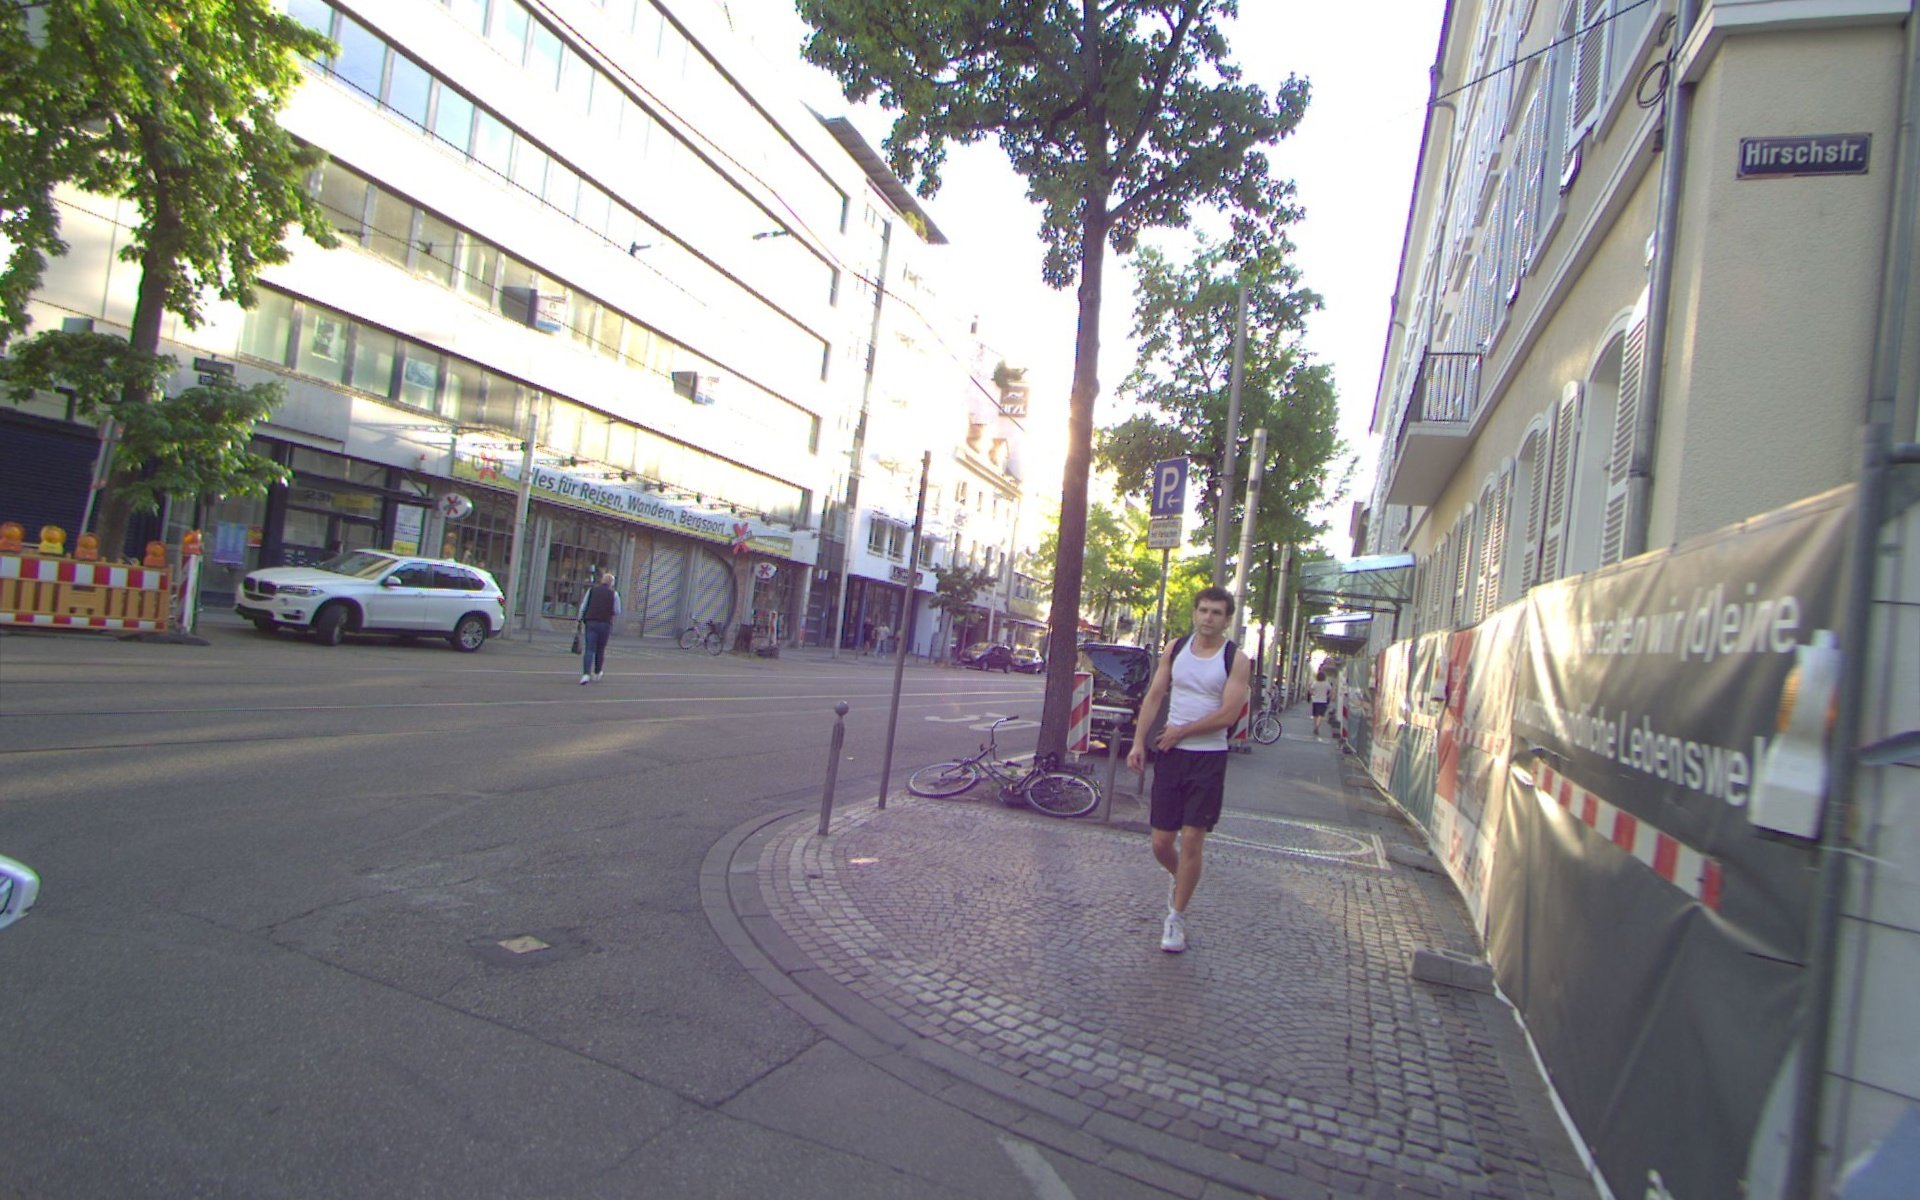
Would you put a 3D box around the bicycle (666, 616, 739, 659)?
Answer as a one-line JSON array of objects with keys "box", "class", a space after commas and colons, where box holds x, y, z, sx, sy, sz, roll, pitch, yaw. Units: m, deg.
[{"box": [-7.780, 1.125, 30.409, 1.989, 0.964, 0.670, 10, 1, 19], "class": "bicycle"}]

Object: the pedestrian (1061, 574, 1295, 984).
[{"box": [1.180, 0.855, 5.280, 0.791, 1.842, 1.071, 5, 0, 27], "class": "pedestrian"}]

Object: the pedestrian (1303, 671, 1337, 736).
[{"box": [10.518, 3.019, 29.419, 0.790, 1.798, 0.973, 3, -1, 18], "class": "pedestrian"}]

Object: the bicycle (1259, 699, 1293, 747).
[{"box": [7.363, 2.829, 23.413, 0.529, 0.964, 2.027, 5, -2, 22], "class": "bicycle"}]

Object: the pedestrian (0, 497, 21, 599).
[{"box": [-15.198, -0.851, 15.533, 0.568, 1.568, 0.707, 7, 0, 18], "class": "pedestrian"}]

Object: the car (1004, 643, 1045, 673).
[{"box": [3.948, 3.510, 61.029, 1.798, 1.481, 3.733, 9, -1, 11], "class": "car"}]

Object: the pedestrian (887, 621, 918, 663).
[{"box": [-2.640, 1.947, 46.373, 0.792, 1.798, 0.970, 7, 0, 33], "class": "pedestrian"}]

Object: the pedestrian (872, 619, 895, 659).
[{"box": [-3.578, 1.848, 47.145, 0.617, 1.798, 0.816, 7, 0, 20], "class": "pedestrian"}]

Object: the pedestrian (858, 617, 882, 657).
[{"box": [-4.234, 1.768, 47.347, 0.617, 1.798, 0.816, 7, 0, 20], "class": "pedestrian"}]

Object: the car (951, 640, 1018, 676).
[{"box": [1.359, 3.091, 53.711, 1.701, 1.402, 3.654, 9, -2, 35], "class": "car"}]

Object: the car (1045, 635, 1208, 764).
[{"box": [2.952, 1.685, 17.190, 1.727, 1.814, 3.654, 4, -3, 25], "class": "car"}]

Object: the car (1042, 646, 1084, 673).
[{"box": [7.183, 4.150, 70.034, 1.799, 1.481, 3.731, 9, -2, 22], "class": "car"}]

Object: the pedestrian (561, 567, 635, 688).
[{"box": [-5.794, 0.422, 16.062, 0.796, 1.798, 1.065, 7, 0, -28], "class": "pedestrian"}]

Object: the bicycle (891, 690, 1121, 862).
[{"box": [0.414, 1.578, 9.430, 1.680, 0.444, 1.376, 6, 42, 46], "class": "bicycle"}]

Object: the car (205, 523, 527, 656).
[{"box": [-11.004, -0.062, 19.158, 1.985, 1.795, 4.950, 9, -2, 21], "class": "car"}]
